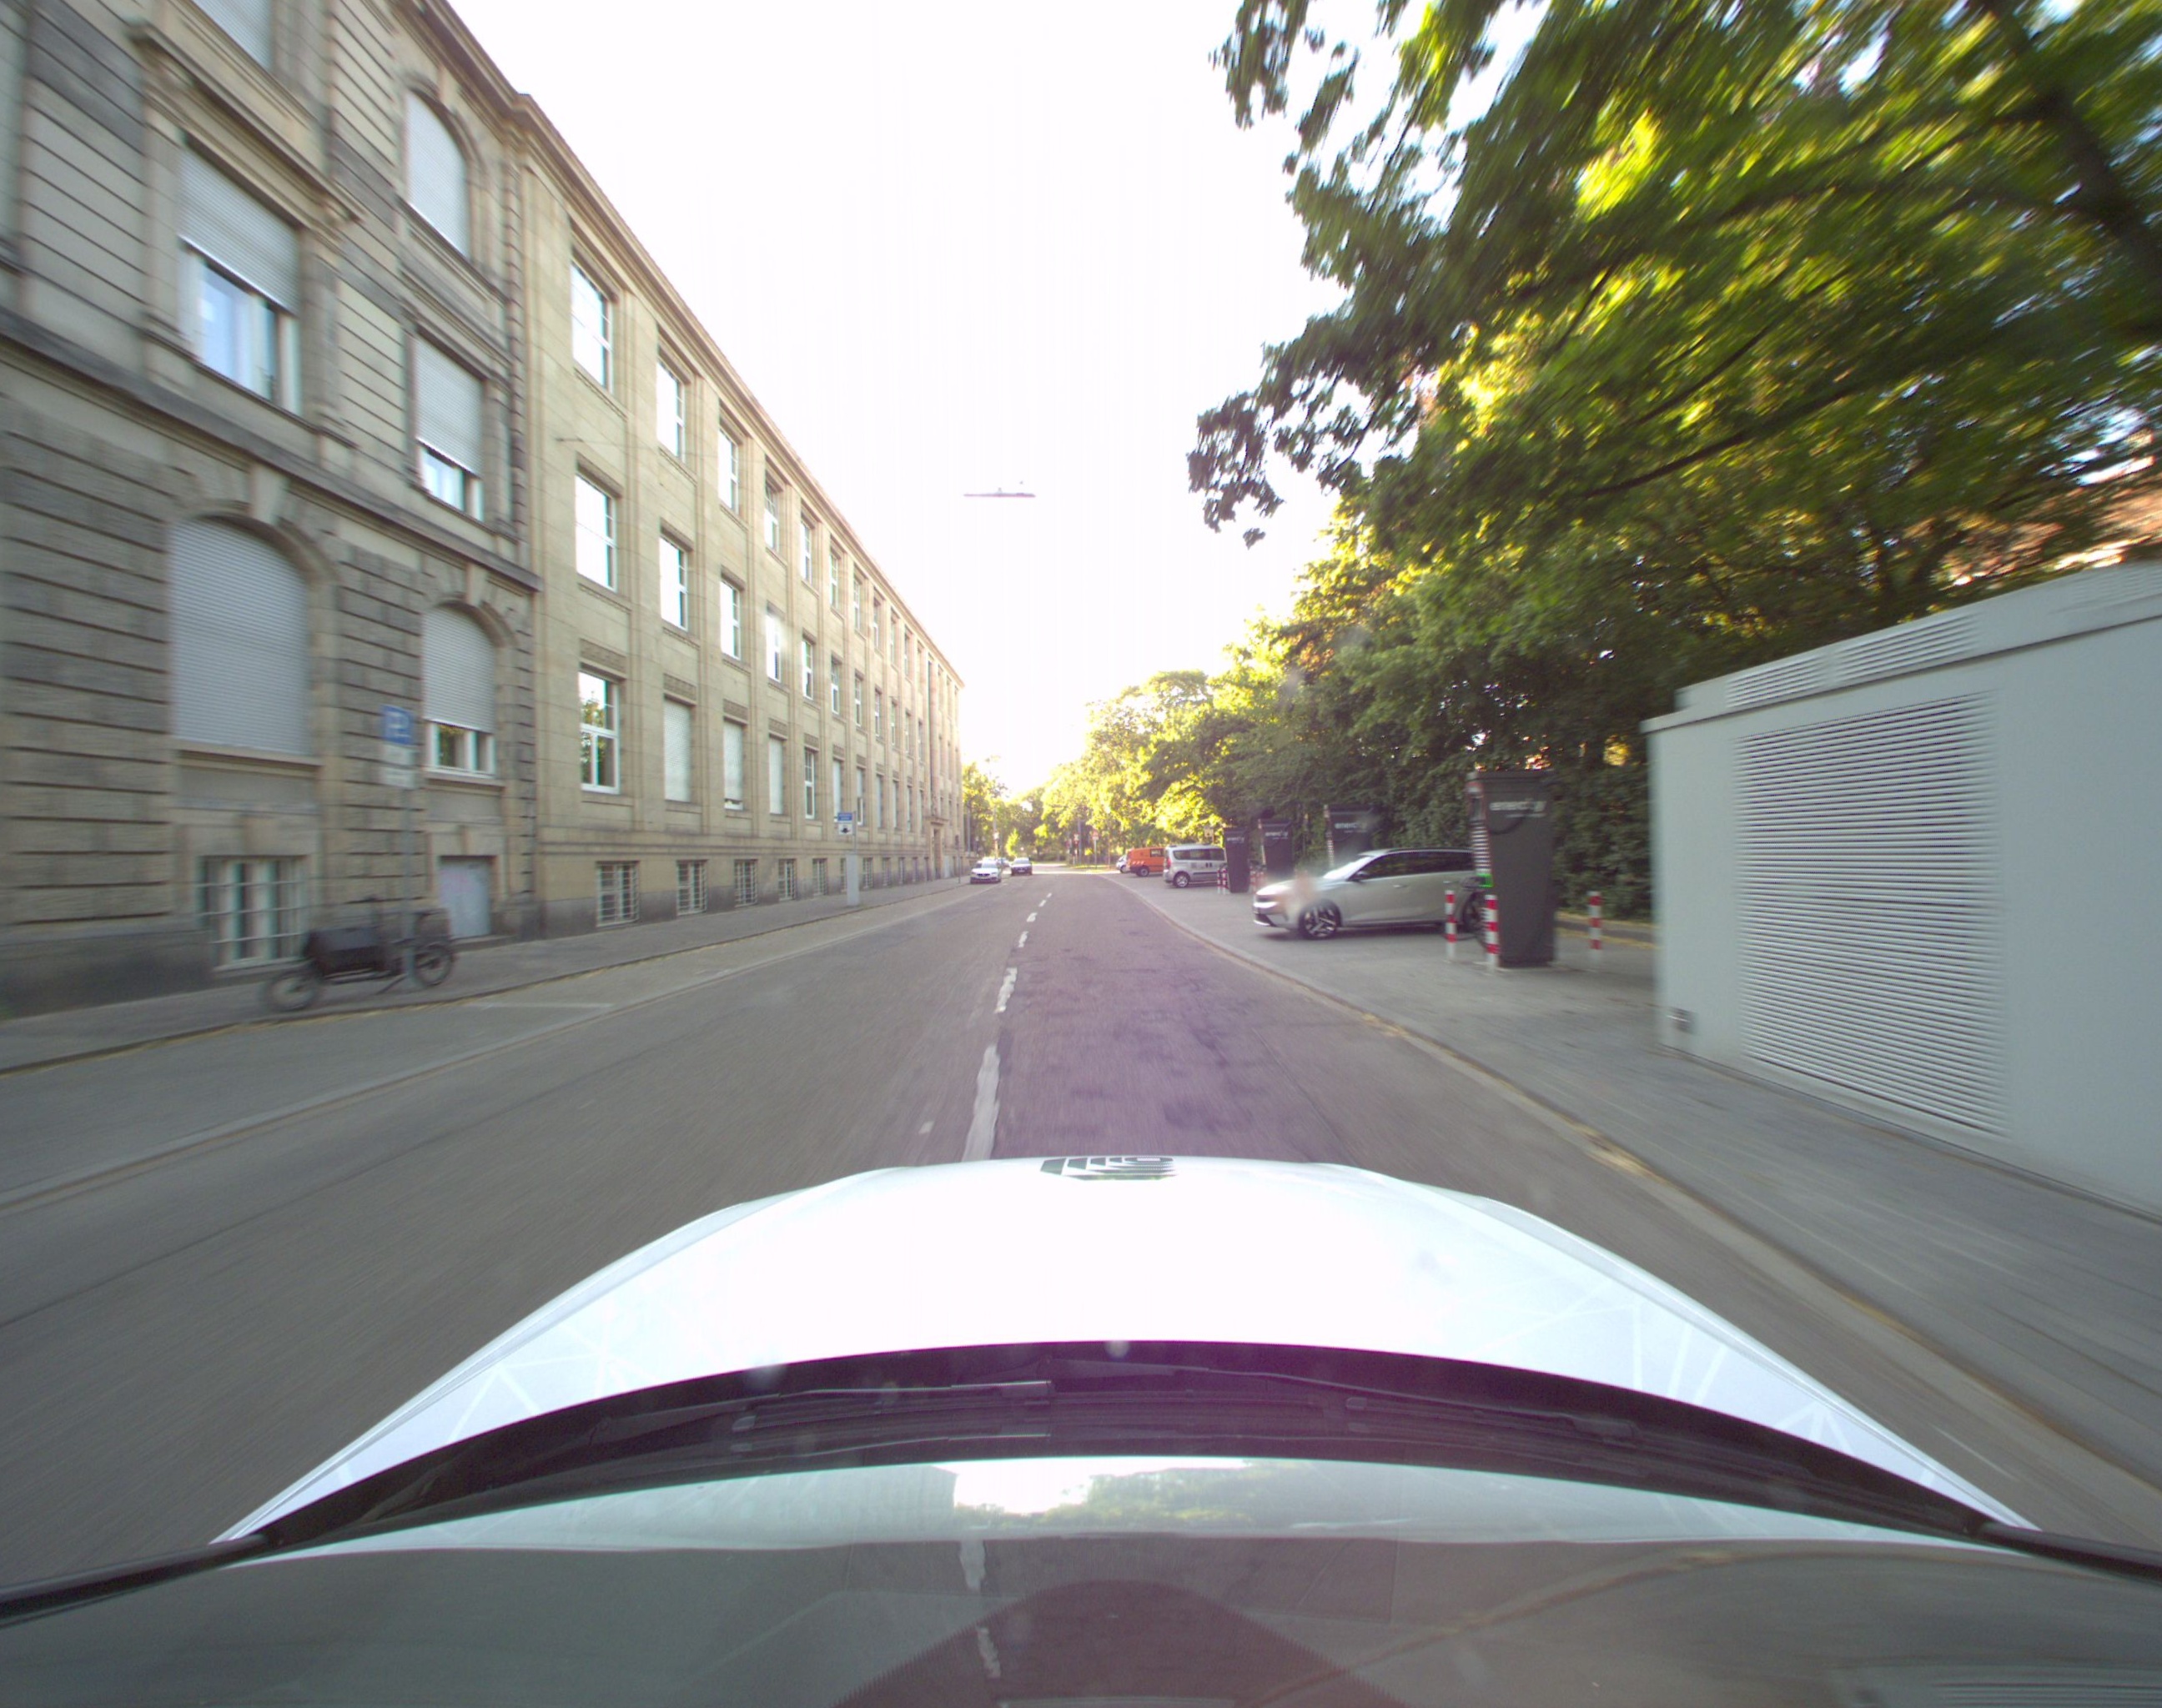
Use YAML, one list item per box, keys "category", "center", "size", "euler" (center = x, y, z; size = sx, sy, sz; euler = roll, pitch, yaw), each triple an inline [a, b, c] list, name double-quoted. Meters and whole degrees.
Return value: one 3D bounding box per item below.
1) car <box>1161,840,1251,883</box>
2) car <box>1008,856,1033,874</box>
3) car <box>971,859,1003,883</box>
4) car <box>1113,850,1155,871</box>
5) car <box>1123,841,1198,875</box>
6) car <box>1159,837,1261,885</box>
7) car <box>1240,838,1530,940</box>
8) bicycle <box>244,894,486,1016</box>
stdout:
- category: "car"
  center: [5.970, 0.352, 39.122]
  size: [4.009, 1.835, 1.615]
  euler: [-3, 0, 1]
- category: "car"
  center: [-5.143, 0.906, 69.651]
  size: [1.874, 1.466, 4.369]
  euler: [-2, 0, -2]
- category: "car"
  center: [-6.022, 1.067, 52.584]
  size: [1.723, 1.397, 4.369]
  euler: [-1, 0, -2]
- category: "car"
  center: [4.275, 0.553, 66.341]
  size: [3.140, 1.503, 1.537]
  euler: [-4, 0, -7]
- category: "car"
  center: [5.415, 0.245, 55.841]
  size: [4.813, 2.013, 1.798]
  euler: [-4, 0, -7]
- category: "car"
  center: [5.719, 0.326, 36.547]
  size: [4.213, 1.859, 2.000]
  euler: [-3, -1, 1]
- category: "car"
  center: [5.208, 0.575, 14.368]
  size: [4.427, 1.469, 1.782]
  euler: [-3, 0, -1]
- category: "bicycle"
  center: [-7.836, 1.051, 9.076]
  size: [0.848, 1.101, 1.984]
  euler: [0, 0, 4]
